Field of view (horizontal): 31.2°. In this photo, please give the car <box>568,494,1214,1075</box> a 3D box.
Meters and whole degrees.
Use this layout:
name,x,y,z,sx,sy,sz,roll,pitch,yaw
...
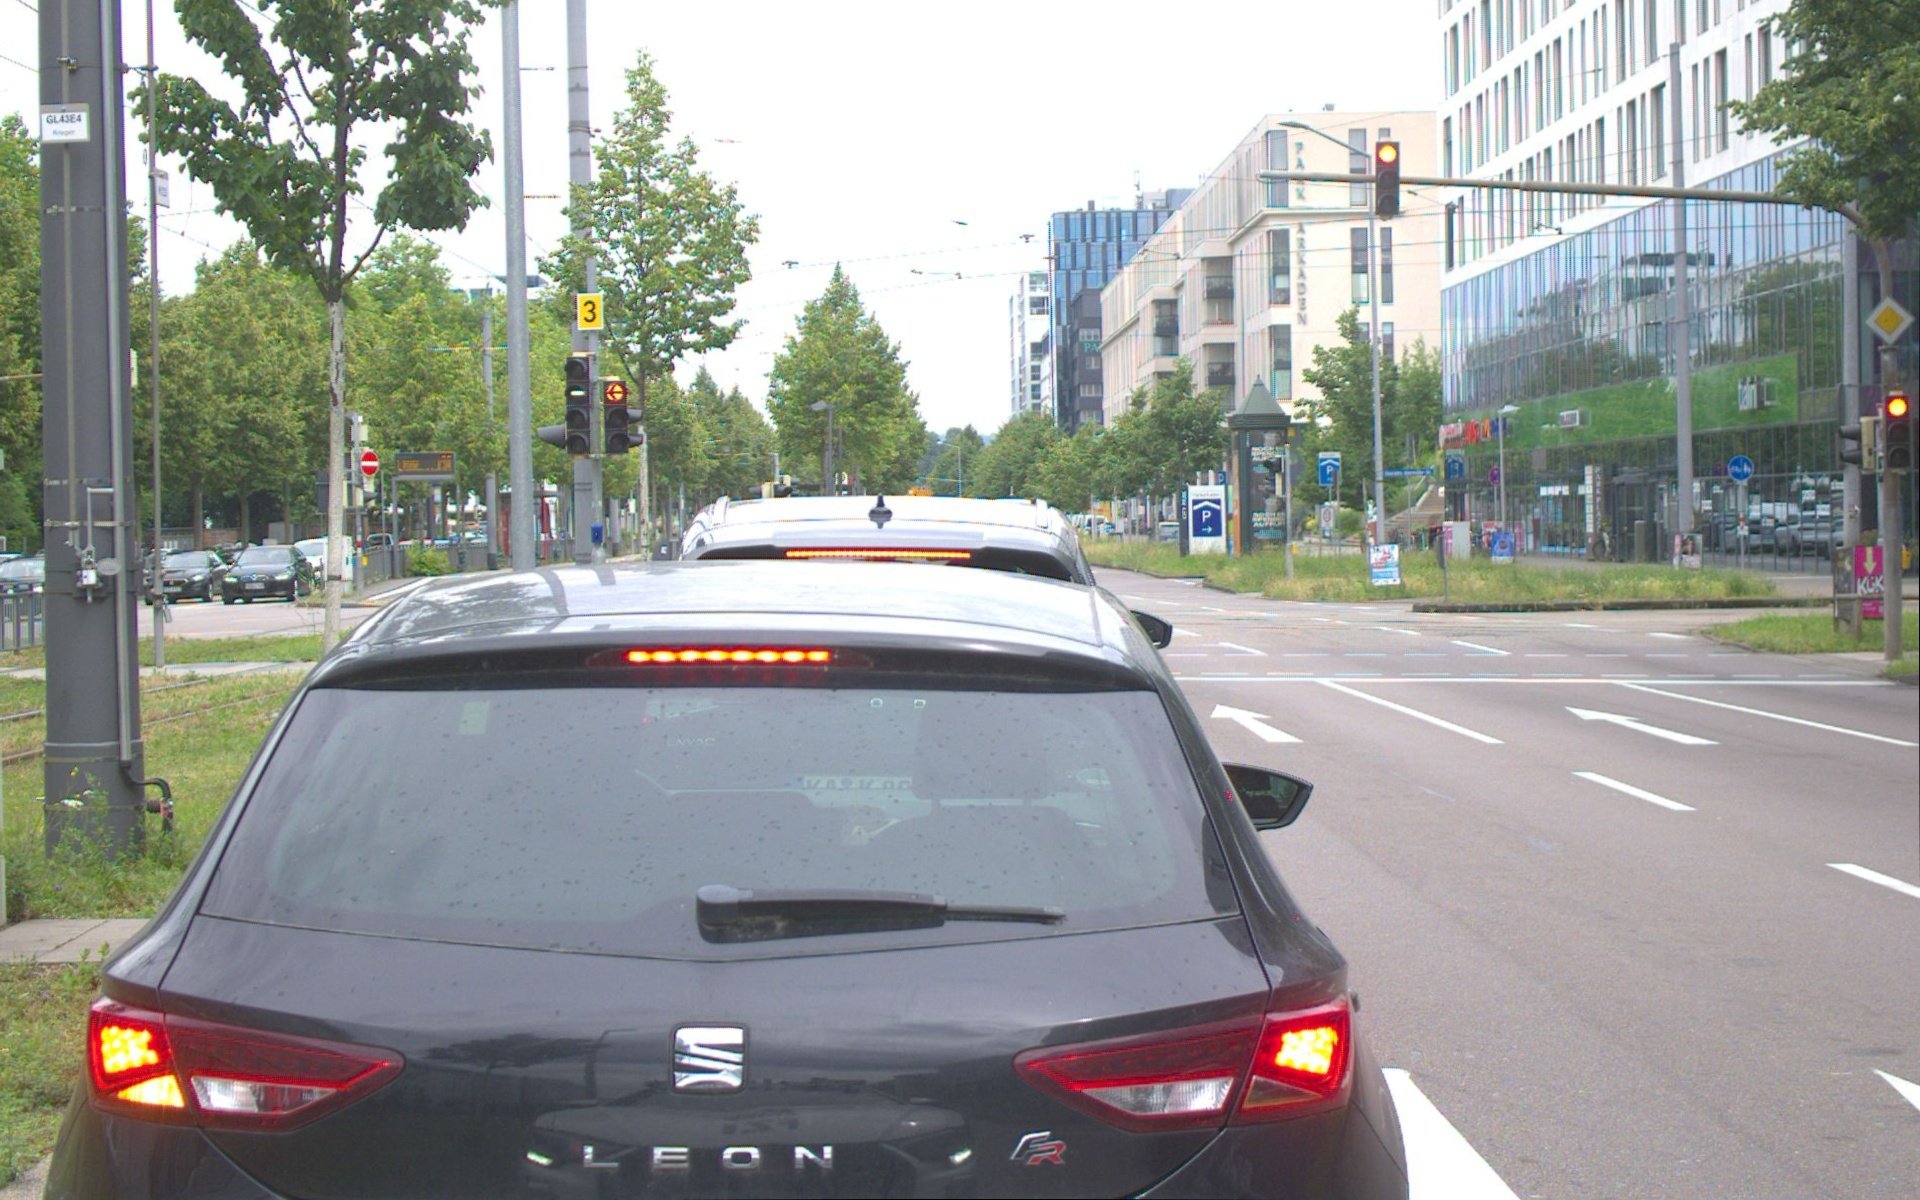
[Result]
name,x,y,z,sx,sy,sz,roll,pitch,yaw
car,-0.217,0.472,11.734,1.802,1.619,4.000,-1,1,-1

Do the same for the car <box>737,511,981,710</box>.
name,x,y,z,sx,sy,sz,roll,pitch,yaw
car,-0.855,0.039,31.469,1.993,1.676,4.000,0,2,2

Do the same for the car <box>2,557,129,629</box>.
name,x,y,z,sx,sy,sz,roll,pitch,yaw
car,-19.954,-0.182,76.876,1.663,1.422,4.747,-2,2,-2

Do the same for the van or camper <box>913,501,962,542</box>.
name,x,y,z,sx,sy,sz,roll,pitch,yaw
van or camper,-0.938,-3.277,143.439,1.993,1.609,4.789,0,3,0

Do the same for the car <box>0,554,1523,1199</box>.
name,x,y,z,sx,sy,sz,roll,pitch,yaw
car,-0.324,0.663,5.677,1.743,1.412,4.001,0,1,-1

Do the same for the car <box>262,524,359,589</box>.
name,x,y,z,sx,sy,sz,roll,pitch,yaw
car,-18.051,-1.236,95.704,1.993,1.744,4.201,-1,1,-2

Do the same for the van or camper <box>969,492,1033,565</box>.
name,x,y,z,sx,sy,sz,roll,pitch,yaw
van or camper,1.393,-2.480,118.004,2.109,2.348,4.924,0,3,0

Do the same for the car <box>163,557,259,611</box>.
name,x,y,z,sx,sy,sz,roll,pitch,yaw
car,-20.545,-0.460,94.439,1.801,1.373,4.058,-1,1,-1

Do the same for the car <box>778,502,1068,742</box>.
name,x,y,z,sx,sy,sz,roll,pitch,yaw
car,-0.201,0.098,26.209,1.994,1.676,4.000,1,2,2
